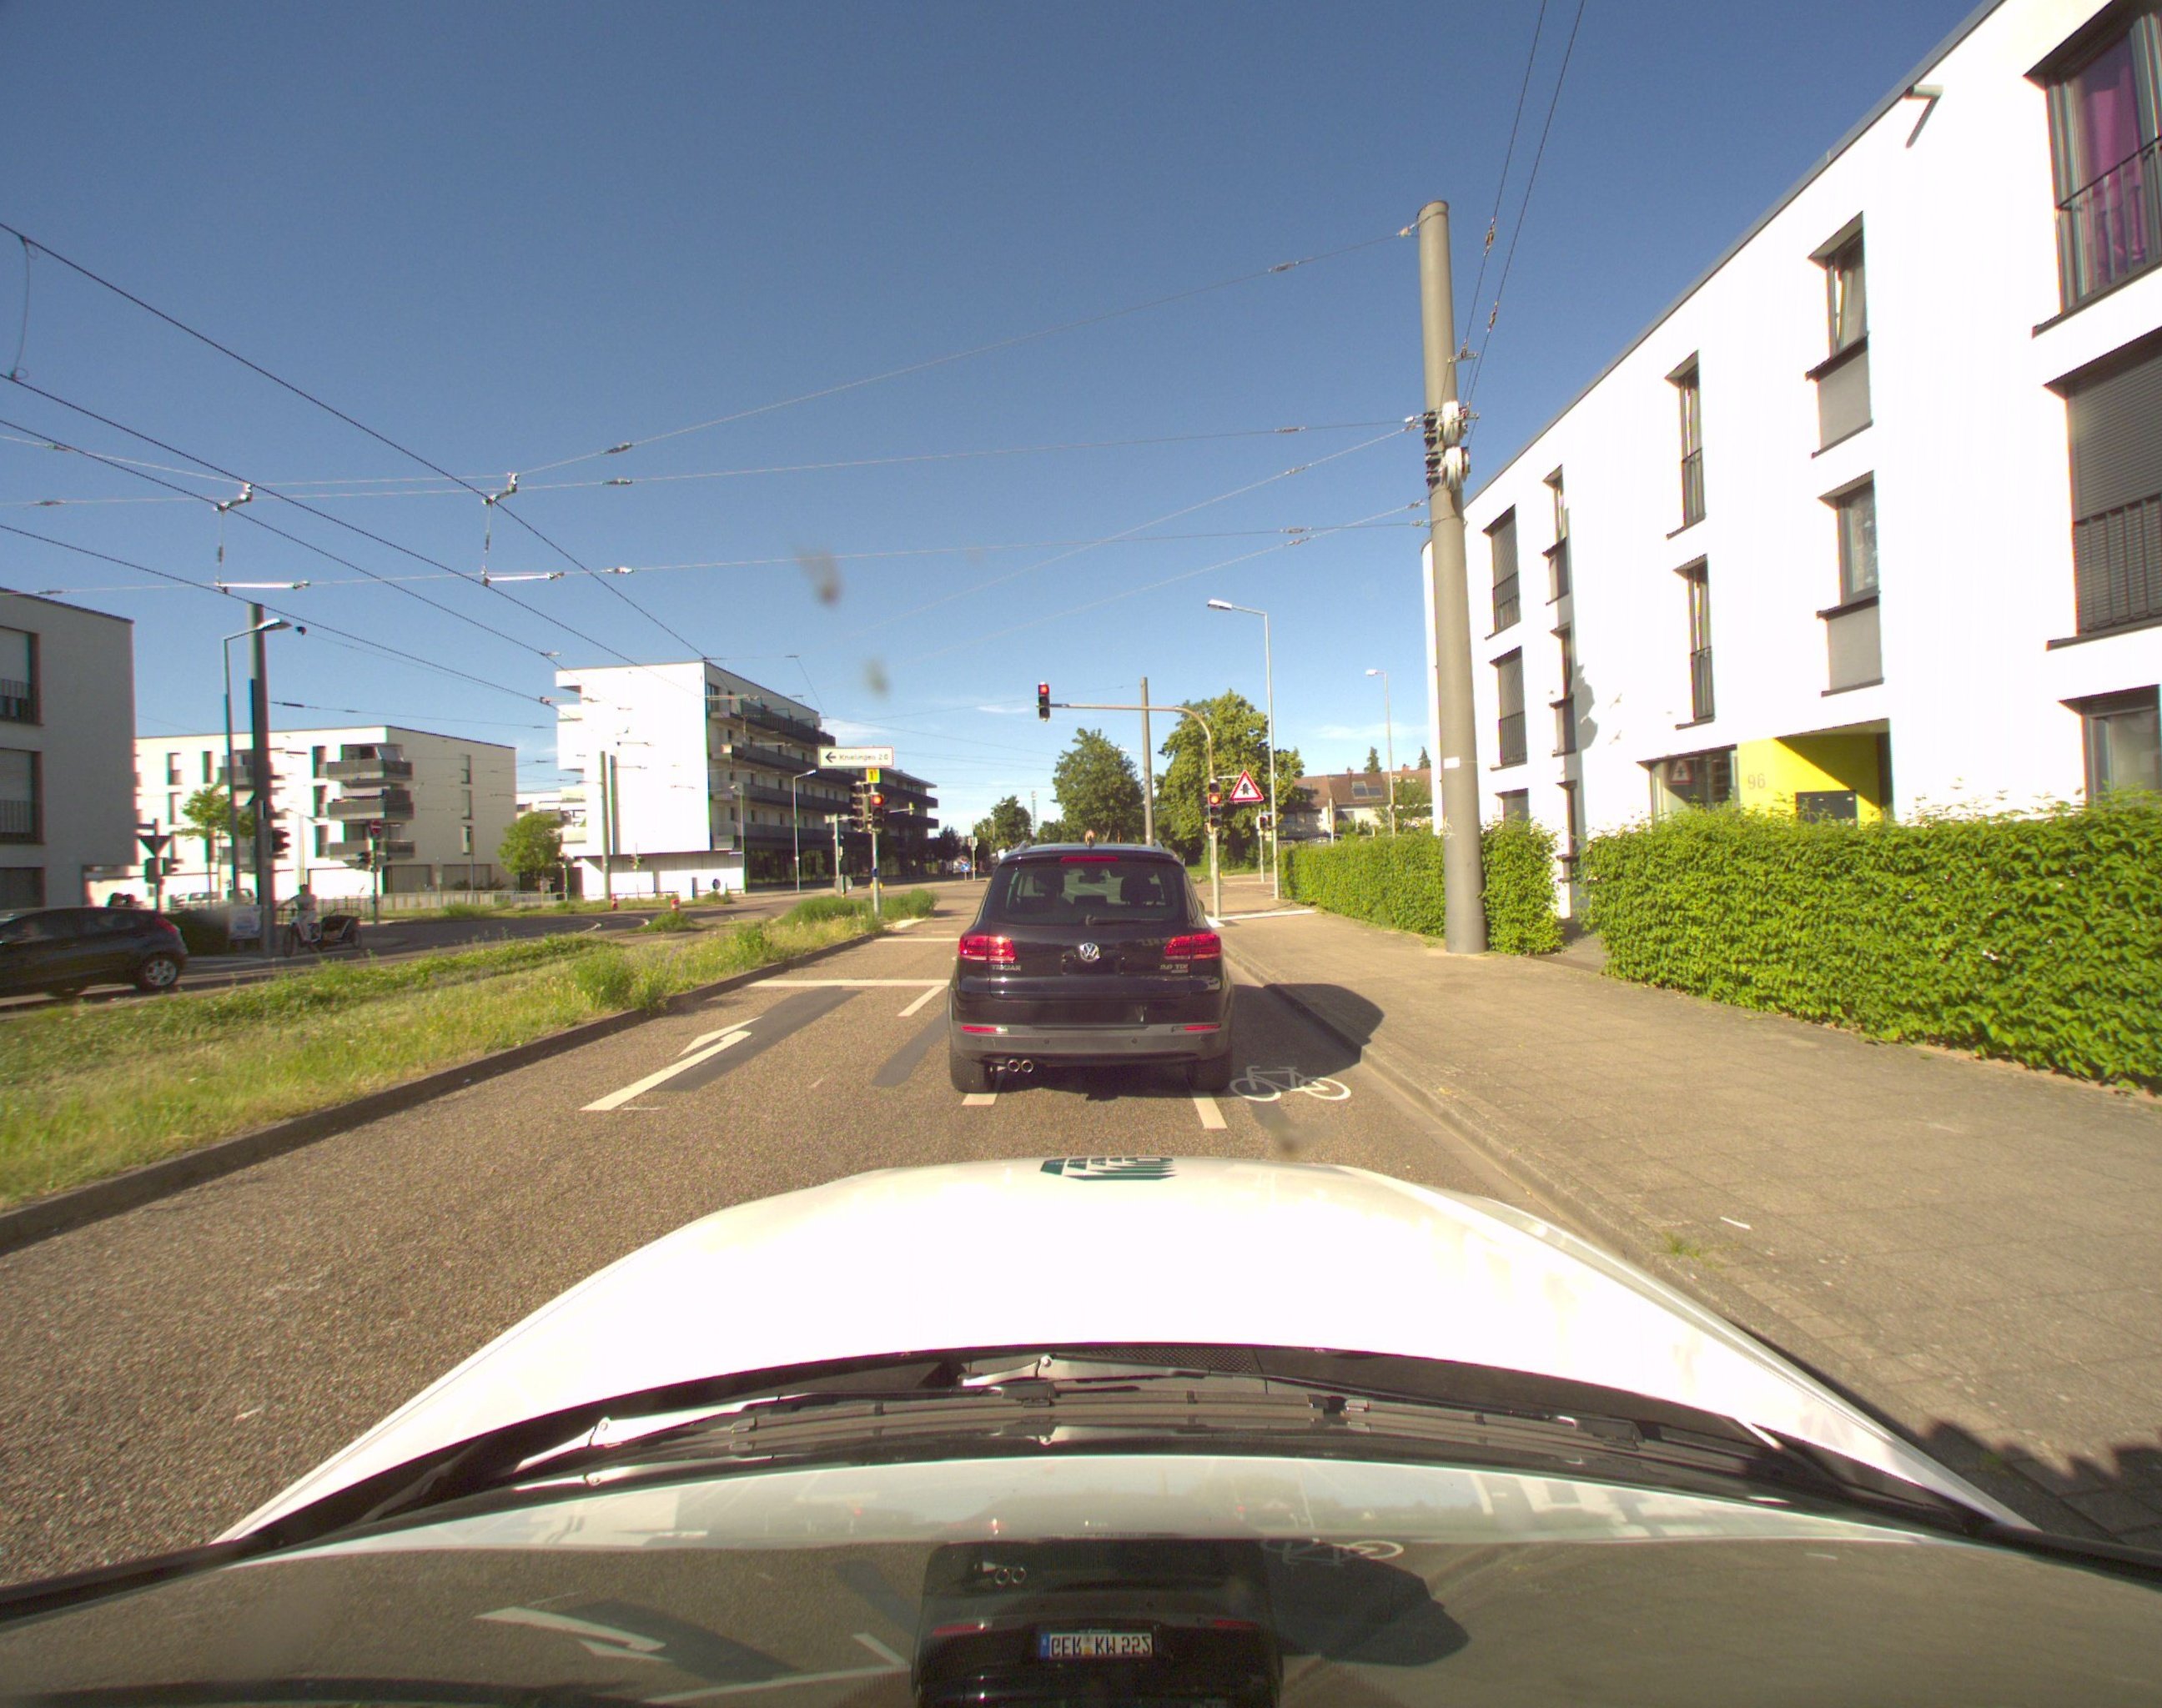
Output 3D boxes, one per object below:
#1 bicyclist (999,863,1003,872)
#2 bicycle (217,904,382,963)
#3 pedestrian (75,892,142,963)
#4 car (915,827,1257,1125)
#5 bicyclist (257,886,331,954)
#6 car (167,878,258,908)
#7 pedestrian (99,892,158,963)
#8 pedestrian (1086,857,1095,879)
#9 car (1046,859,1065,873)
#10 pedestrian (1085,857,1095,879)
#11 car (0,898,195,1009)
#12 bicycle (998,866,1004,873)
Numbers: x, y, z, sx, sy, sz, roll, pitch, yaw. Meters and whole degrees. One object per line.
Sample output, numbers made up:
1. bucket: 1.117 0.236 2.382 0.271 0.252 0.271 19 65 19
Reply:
1. bicyclist: -11.259 1.947 114.724 0.472 1.223 0.713 -1 0 5
2. bicycle: -19.900 1.974 20.941 0.995 1.174 3.686 1 0 -6
3. pedestrian: -21.230 1.587 17.788 0.554 1.464 0.743 -1 0 3
4. car: 0.050 0.690 6.586 1.899 1.643 4.000 -1 0 0
5. bicyclist: -19.848 1.654 20.569 0.972 1.630 0.910 -1 0 -7
6. car: -58.720 2.627 55.097 3.974 1.838 2.000 -1 0 0
7. pedestrian: -20.668 1.581 17.679 0.555 1.464 0.611 -1 0 -1
8. pedestrian: 0.723 1.025 59.922 0.600 1.640 0.530 -1 0 6
9. car: -2.641 1.193 83.967 1.745 1.387 4.000 -1 0 0
10. pedestrian: 0.660 0.995 59.231 0.600 1.565 0.530 -1 0 6
11. car: -15.982 1.516 11.971 1.697 1.430 3.740 -4 0 1
12. bicycle: -11.248 2.180 114.788 0.493 0.848 2.082 -1 0 6
